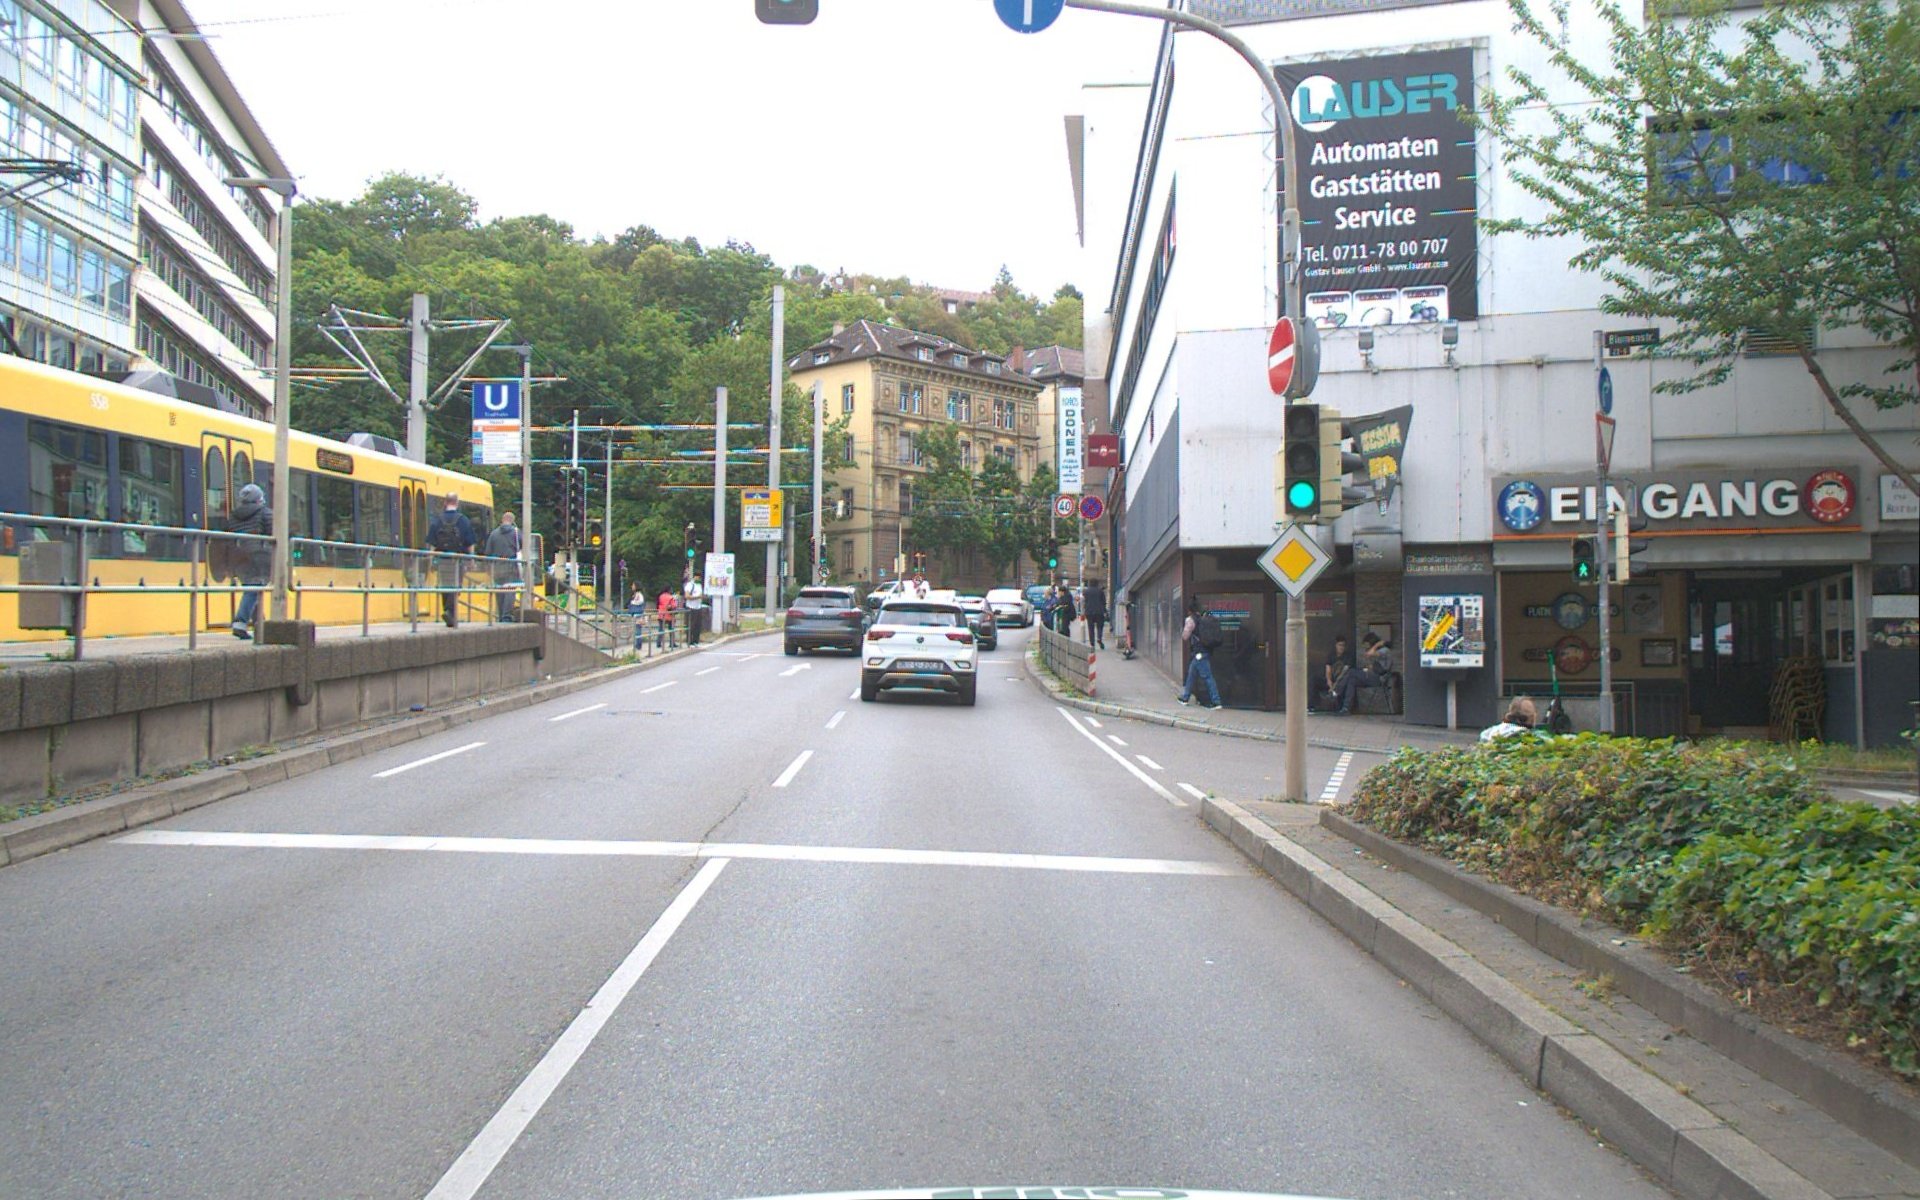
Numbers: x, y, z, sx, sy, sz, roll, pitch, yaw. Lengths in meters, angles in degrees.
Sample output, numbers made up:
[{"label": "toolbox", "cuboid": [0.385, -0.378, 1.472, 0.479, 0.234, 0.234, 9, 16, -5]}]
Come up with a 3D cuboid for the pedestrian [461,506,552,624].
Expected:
[{"label": "pedestrian", "cuboid": [-6.949, -0.518, 25.420, 1.094, 1.710, 1.041, 0, -5, -1]}]

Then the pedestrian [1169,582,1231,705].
[{"label": "pedestrian", "cuboid": [3.633, 0.653, 25.102, 0.706, 1.817, 0.882, 1, 0, -5]}]

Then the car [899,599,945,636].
[{"label": "car", "cuboid": [-1.621, 0.726, 71.431, 1.898, 1.532, 3.805, 1, 0, -1]}]

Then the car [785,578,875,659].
[{"label": "car", "cuboid": [-3.153, 0.403, 40.743, 1.801, 1.770, 4.001, 2, 2, 1]}]

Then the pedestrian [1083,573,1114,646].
[{"label": "pedestrian", "cuboid": [3.520, 0.237, 42.003, 0.711, 1.840, 0.654, 1, 0, 3]}]

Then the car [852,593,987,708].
[{"label": "car", "cuboid": [-0.606, 0.725, 25.953, 1.899, 1.594, 4.045, 2, 0, -1]}]

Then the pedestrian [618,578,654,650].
[{"label": "pedestrian", "cuboid": [-7.582, 0.328, 38.741, 0.662, 1.653, 1.000, 0, 0, -2]}]

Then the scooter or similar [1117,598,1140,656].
[{"label": "scooter or similar", "cuboid": [3.866, 0.609, 37.931, 0.418, 1.298, 0.981, 0, 0, 13]}]

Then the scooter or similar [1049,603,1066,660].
[{"label": "scooter or similar", "cuboid": [2.275, 0.730, 38.617, 0.346, 1.298, 0.814, 1, 0, 2]}]

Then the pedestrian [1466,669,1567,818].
[{"label": "pedestrian", "cuboid": [3.620, 0.929, 10.783, 0.474, 0.926, 0.583, 2, -5, 2]}]

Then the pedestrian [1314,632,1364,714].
[{"label": "pedestrian", "cuboid": [6.129, 1.170, 26.743, 0.719, 1.257, 0.718, 2, 0, 16]}]

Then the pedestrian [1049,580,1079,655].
[{"label": "pedestrian", "cuboid": [2.577, 0.431, 41.053, 0.722, 1.825, 0.655, 0, 0, 3]}]

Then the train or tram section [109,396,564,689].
[{"label": "train or tram section", "cuboid": [-9.899, -0.939, 28.943, 2.824, 3.727, 14.472, -3, 1, -2]}]

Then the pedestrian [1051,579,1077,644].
[{"label": "pedestrian", "cuboid": [2.820, 0.309, 44.891, 0.550, 1.680, 0.591, -5, 0, 2]}]

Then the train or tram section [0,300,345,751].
[{"label": "train or tram section", "cuboid": [-9.380, -0.597, 14.718, 2.824, 3.727, 14.226, -3, 1, -2]}]

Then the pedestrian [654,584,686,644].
[{"label": "pedestrian", "cuboid": [-7.374, 0.369, 42.094, 0.564, 1.490, 0.676, -2, -4, 18]}]

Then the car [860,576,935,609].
[{"label": "car", "cuboid": [-4.134, -0.488, 109.997, 1.966, 1.882, 4.959, 0, -4, 43]}]

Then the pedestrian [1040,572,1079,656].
[{"label": "pedestrian", "cuboid": [2.541, 0.345, 42.187, 0.927, 2.098, 0.779, 2, 0, 3]}]

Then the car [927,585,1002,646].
[{"label": "car", "cuboid": [0.174, 0.416, 46.592, 1.863, 1.601, 3.836, 1, 0, 3]}]

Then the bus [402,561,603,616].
[{"label": "bus", "cuboid": [-27.255, -0.684, 98.651, 11.265, 3.082, 3.393, 0, 0, 13]}]

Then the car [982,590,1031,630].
[{"label": "car", "cuboid": [1.879, 0.380, 66.484, 1.898, 1.532, 3.807, 1, 0, 1]}]

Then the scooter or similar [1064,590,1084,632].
[{"label": "scooter or similar", "cuboid": [4.144, 0.398, 60.073, 0.654, 1.501, 1.179, 0, 0, 6]}]

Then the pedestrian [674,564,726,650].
[{"label": "pedestrian", "cuboid": [-6.557, 0.200, 41.752, 0.945, 2.103, 1.032, -2, -4, 18]}]

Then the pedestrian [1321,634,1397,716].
[{"label": "pedestrian", "cuboid": [6.241, 1.166, 25.843, 1.082, 1.209, 0.743, 2, 0, 17]}]

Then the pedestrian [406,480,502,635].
[{"label": "pedestrian", "cuboid": [-6.812, -0.553, 22.337, 0.910, 2.004, 1.233, 0, -3, -1]}]

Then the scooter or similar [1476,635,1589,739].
[{"label": "scooter or similar", "cuboid": [8.226, 1.244, 23.788, 1.363, 1.373, 0.595, 4, -1, -14]}]

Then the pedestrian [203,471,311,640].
[{"label": "pedestrian", "cuboid": [-6.839, -0.425, 16.117, 0.762, 1.612, 0.665, 0, 0, -1]}]
